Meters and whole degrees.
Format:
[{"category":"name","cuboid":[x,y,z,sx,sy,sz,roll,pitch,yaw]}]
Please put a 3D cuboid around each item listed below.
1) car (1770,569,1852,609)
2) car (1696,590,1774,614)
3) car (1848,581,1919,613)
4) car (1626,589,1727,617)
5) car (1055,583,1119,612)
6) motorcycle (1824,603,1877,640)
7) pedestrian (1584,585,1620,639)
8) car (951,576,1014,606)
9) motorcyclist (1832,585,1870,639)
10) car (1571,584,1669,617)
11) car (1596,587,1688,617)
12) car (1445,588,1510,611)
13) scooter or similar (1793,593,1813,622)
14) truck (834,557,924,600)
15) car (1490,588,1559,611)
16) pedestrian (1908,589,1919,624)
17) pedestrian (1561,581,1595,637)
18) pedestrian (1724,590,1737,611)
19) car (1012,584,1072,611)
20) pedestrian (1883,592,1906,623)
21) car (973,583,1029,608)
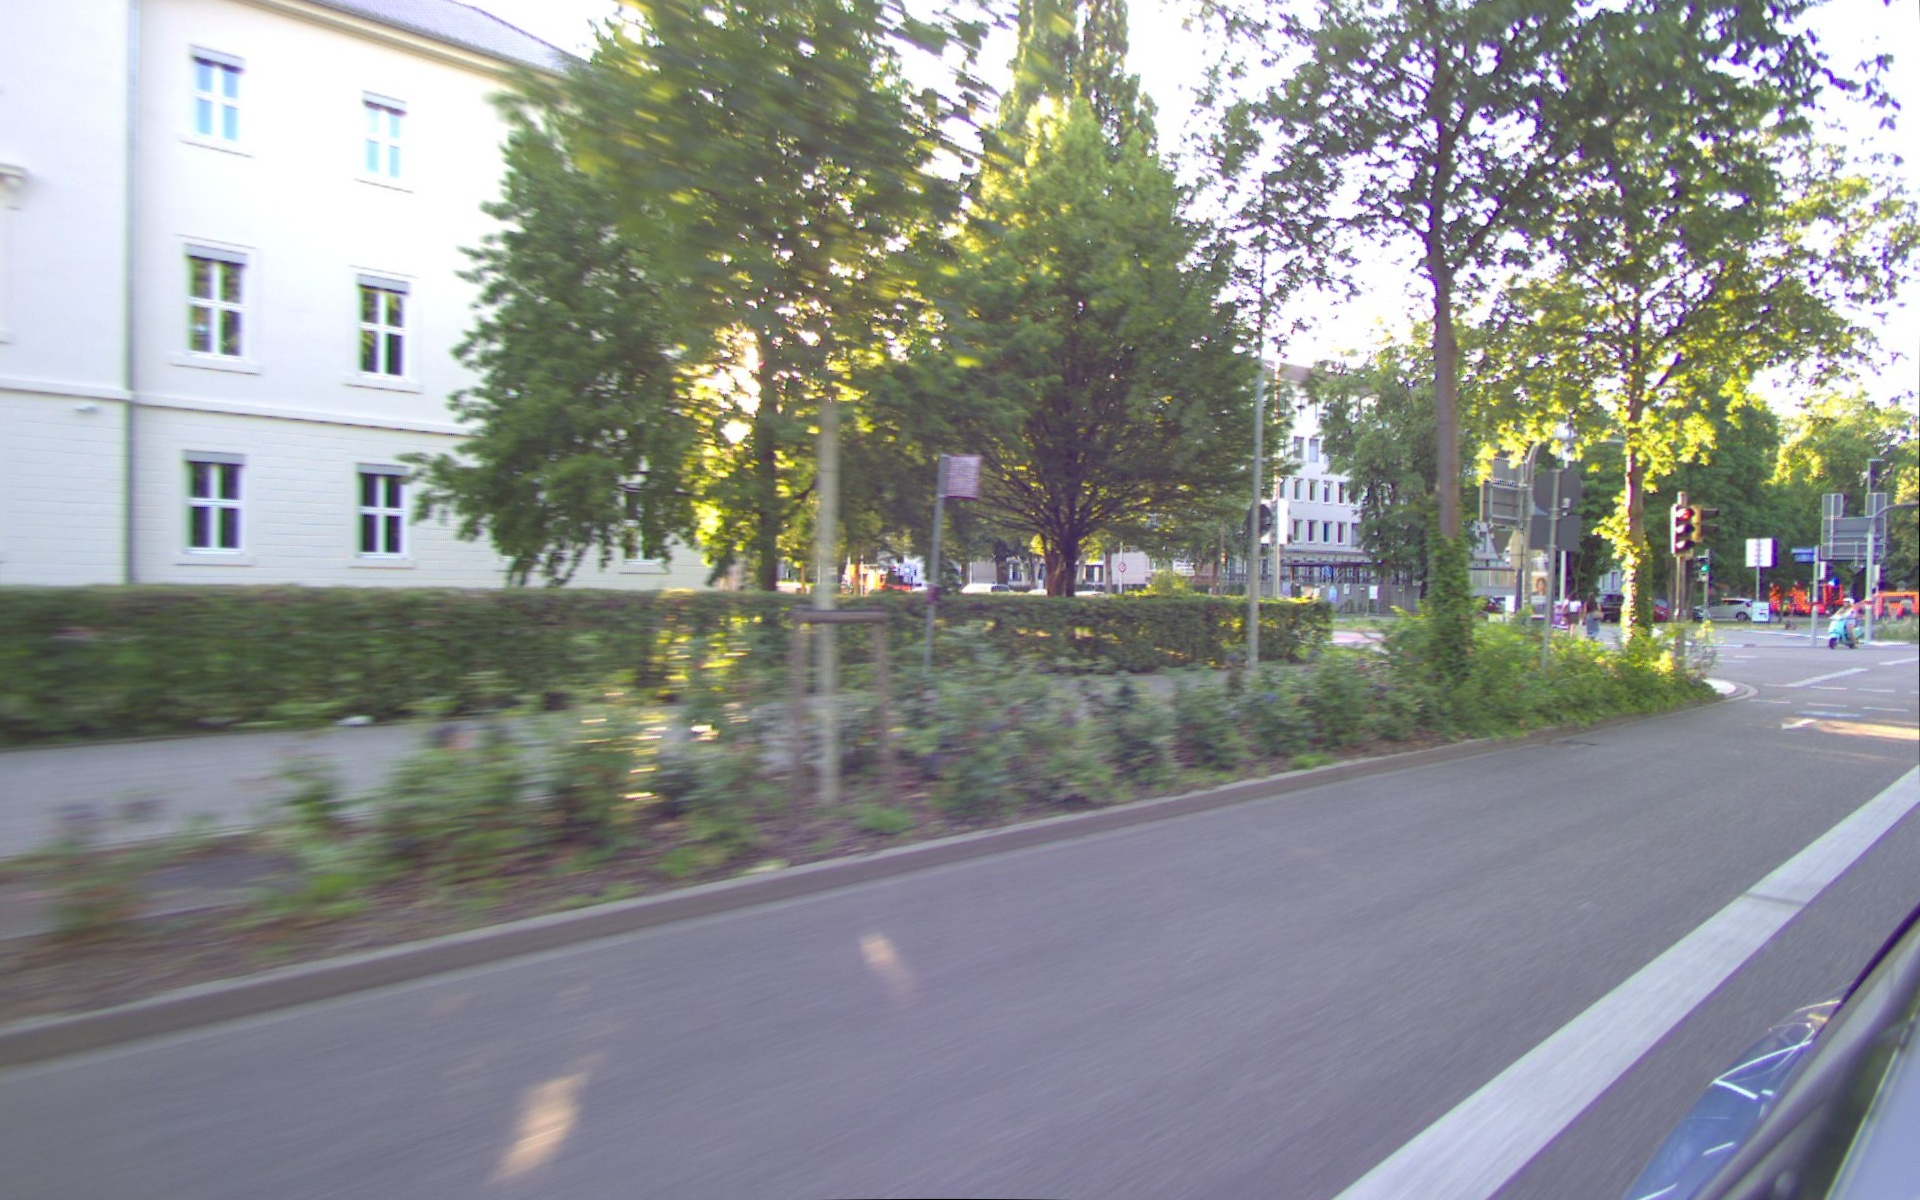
[{"category":"car","cuboid":[72.457,-0.912,86.109,8.131,3.284,2.776,0,1,-30]},{"category":"car","cuboid":[49.747,0.110,65.030,1.631,1.477,3.669,0,1,-31]},{"category":"car","cuboid":[73.864,-0.277,80.024,1.961,2.422,5.172,0,1,-33]},{"category":"car","cuboid":[42.190,0.149,59.699,1.882,1.482,4.522,0,1,-33]},{"category":"car","cuboid":[7.737,-0.163,62.087,1.862,1.660,4.005,0,1,-29]},{"category":"motorcycle","cuboid":[29.458,0.699,33.467,1.855,1.213,0.685,0,0,-27]},{"category":"pedestrian","cuboid":[20.231,0.374,31.882,0.829,1.643,0.683,1,0,-37]},{"category":"car","cuboid":[1.477,-0.555,67.247,2.016,1.886,4.497,0,-1,-32]},{"category":"motorcyclist","cuboid":[29.462,0.382,33.475,0.676,1.759,0.741,1,0,-27]},{"category":"car","cuboid":[37.072,0.009,56.940,1.881,1.762,4.243,0,1,-31]},{"category":"car","cuboid":[39.371,0.072,58.510,1.880,1.631,4.005,0,1,-29]},{"category":"car","cuboid":[35.727,-0.048,69.893,1.737,1.477,3.629,0,1,-34]},{"category":"scooter or similar","cuboid":[38.422,0.335,46.107,1.157,1.287,0.441,0,1,-37]},{"category":"truck","cuboid":[-6.537,-1.681,79.498,2.590,3.179,10.281,0,1,-33]},{"category":"car","cuboid":[40.434,-0.077,72.546,1.878,1.540,3.923,0,1,-28]},{"category":"pedestrian","cuboid":[46.319,0.306,48.884,0.763,1.681,0.720,0,1,-42]},{"category":"pedestrian","cuboid":[19.837,0.290,32.488,0.675,1.776,0.683,1,0,-37]},{"category":"pedestrian","cuboid":[69.168,0.028,90.808,0.830,1.865,0.683,1,0,-35]},{"category":"car","cuboid":[5.341,-0.196,66.063,1.960,1.632,4.004,0,1,-30]},{"category":"pedestrian","cuboid":[45.923,0.359,49.738,0.775,1.542,0.736,0,1,-41]},{"category":"car","cuboid":[2.842,-0.306,70.354,1.961,1.660,4.003,0,1,-32]}]
